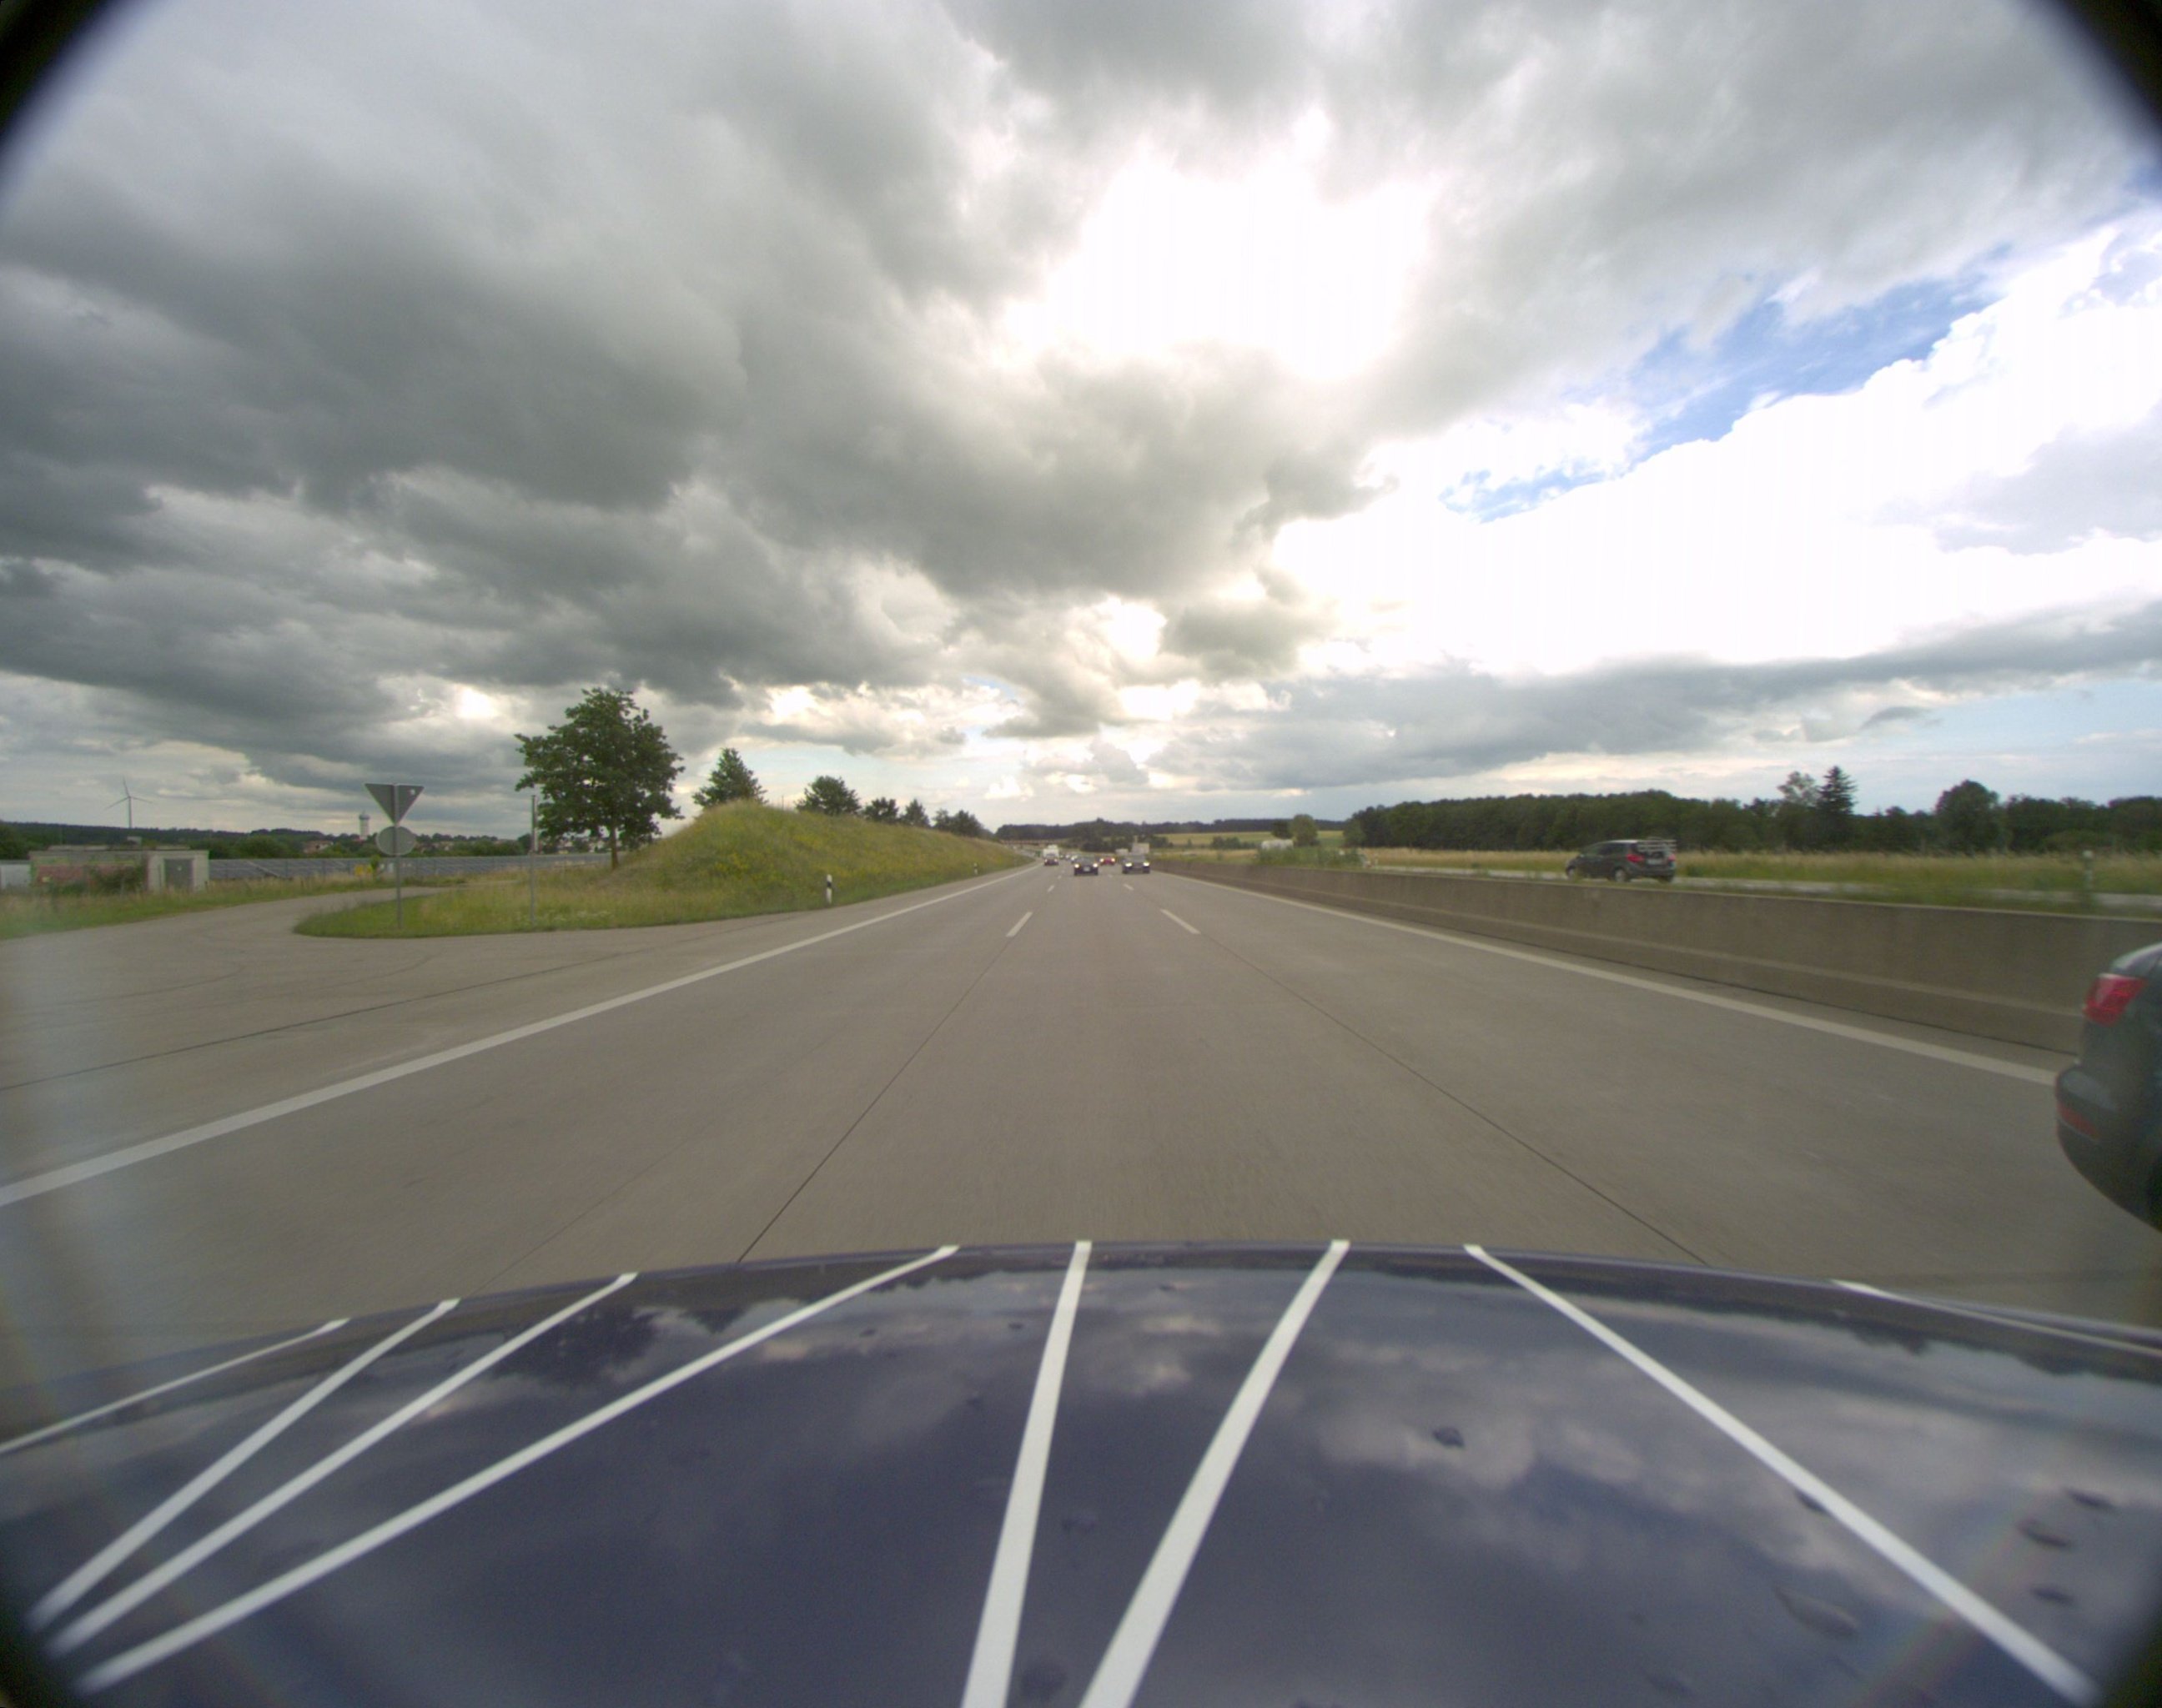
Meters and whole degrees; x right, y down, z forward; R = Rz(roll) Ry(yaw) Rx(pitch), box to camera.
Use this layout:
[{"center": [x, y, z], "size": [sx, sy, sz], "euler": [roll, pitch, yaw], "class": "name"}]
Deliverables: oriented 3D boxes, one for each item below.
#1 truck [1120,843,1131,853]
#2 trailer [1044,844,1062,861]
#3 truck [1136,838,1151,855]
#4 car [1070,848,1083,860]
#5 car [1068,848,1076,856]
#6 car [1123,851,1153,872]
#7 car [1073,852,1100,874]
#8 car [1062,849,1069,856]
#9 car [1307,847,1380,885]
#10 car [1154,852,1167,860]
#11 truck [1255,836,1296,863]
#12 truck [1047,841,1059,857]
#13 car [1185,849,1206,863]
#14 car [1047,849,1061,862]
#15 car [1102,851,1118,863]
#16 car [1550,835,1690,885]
[{"center": [12.345, -1.619, 211.381], "size": [2.622, 2.709, 6.918], "euler": [-2, 1, -1], "class": "truck"}, {"center": [-4.272, -0.271, 115.644], "size": [2.616, 2.520, 6.718], "euler": [-2, 1, -3], "class": "trailer"}, {"center": [16.690, -2.137, 202.452], "size": [2.848, 4.231, 14.563], "euler": [-2, 1, 1], "class": "truck"}, {"center": [-0.791, -0.024, 124.844], "size": [1.999, 2.002, 3.999], "euler": [-2, 0, -2], "class": "car"}, {"center": [-2.302, -0.456, 192.845], "size": [1.810, 2.002, 3.841], "euler": [-3, 1, -2], "class": "car"}, {"center": [4.136, 0.517, 55.884], "size": [1.940, 1.464, 4.000], "euler": [-2, 0, 0], "class": "car"}, {"center": [0.369, 0.634, 55.610], "size": [1.691, 1.405, 3.998], "euler": [-2, 1, -3], "class": "car"}, {"center": [-4.492, -0.549, 223.163], "size": [1.999, 2.002, 3.998], "euler": [-2, 1, -2], "class": "car"}, {"center": [12.177, 0.507, 35.609], "size": [1.728, 1.529, 5.038], "euler": [-2, 1, 1], "class": "car"}, {"center": [14.535, 0.379, 139.072], "size": [1.861, 1.455, 3.999], "euler": [-1, 0, 0], "class": "car"}, {"center": [19.780, -0.522, 77.691], "size": [2.150, 2.552, 7.446], "euler": [-2, 1, 0], "class": "truck"}, {"center": [-7.486, -1.332, 201.911], "size": [2.855, 4.176, 10.706], "euler": [-2, 0, -3], "class": "truck"}, {"center": [12.179, 0.170, 81.001], "size": [1.577, 1.451, 4.222], "euler": [-2, 0, 0], "class": "car"}, {"center": [-3.921, 0.176, 109.778], "size": [1.944, 1.799, 5.029], "euler": [-2, 1, -3], "class": "car"}, {"center": [3.661, 0.322, 96.248], "size": [1.821, 1.364, 3.782], "euler": [-3, 1, 1], "class": "car"}, {"center": [20.003, 0.200, 28.506], "size": [1.753, 1.631, 4.943], "euler": [-2, 0, 1], "class": "car"}]
